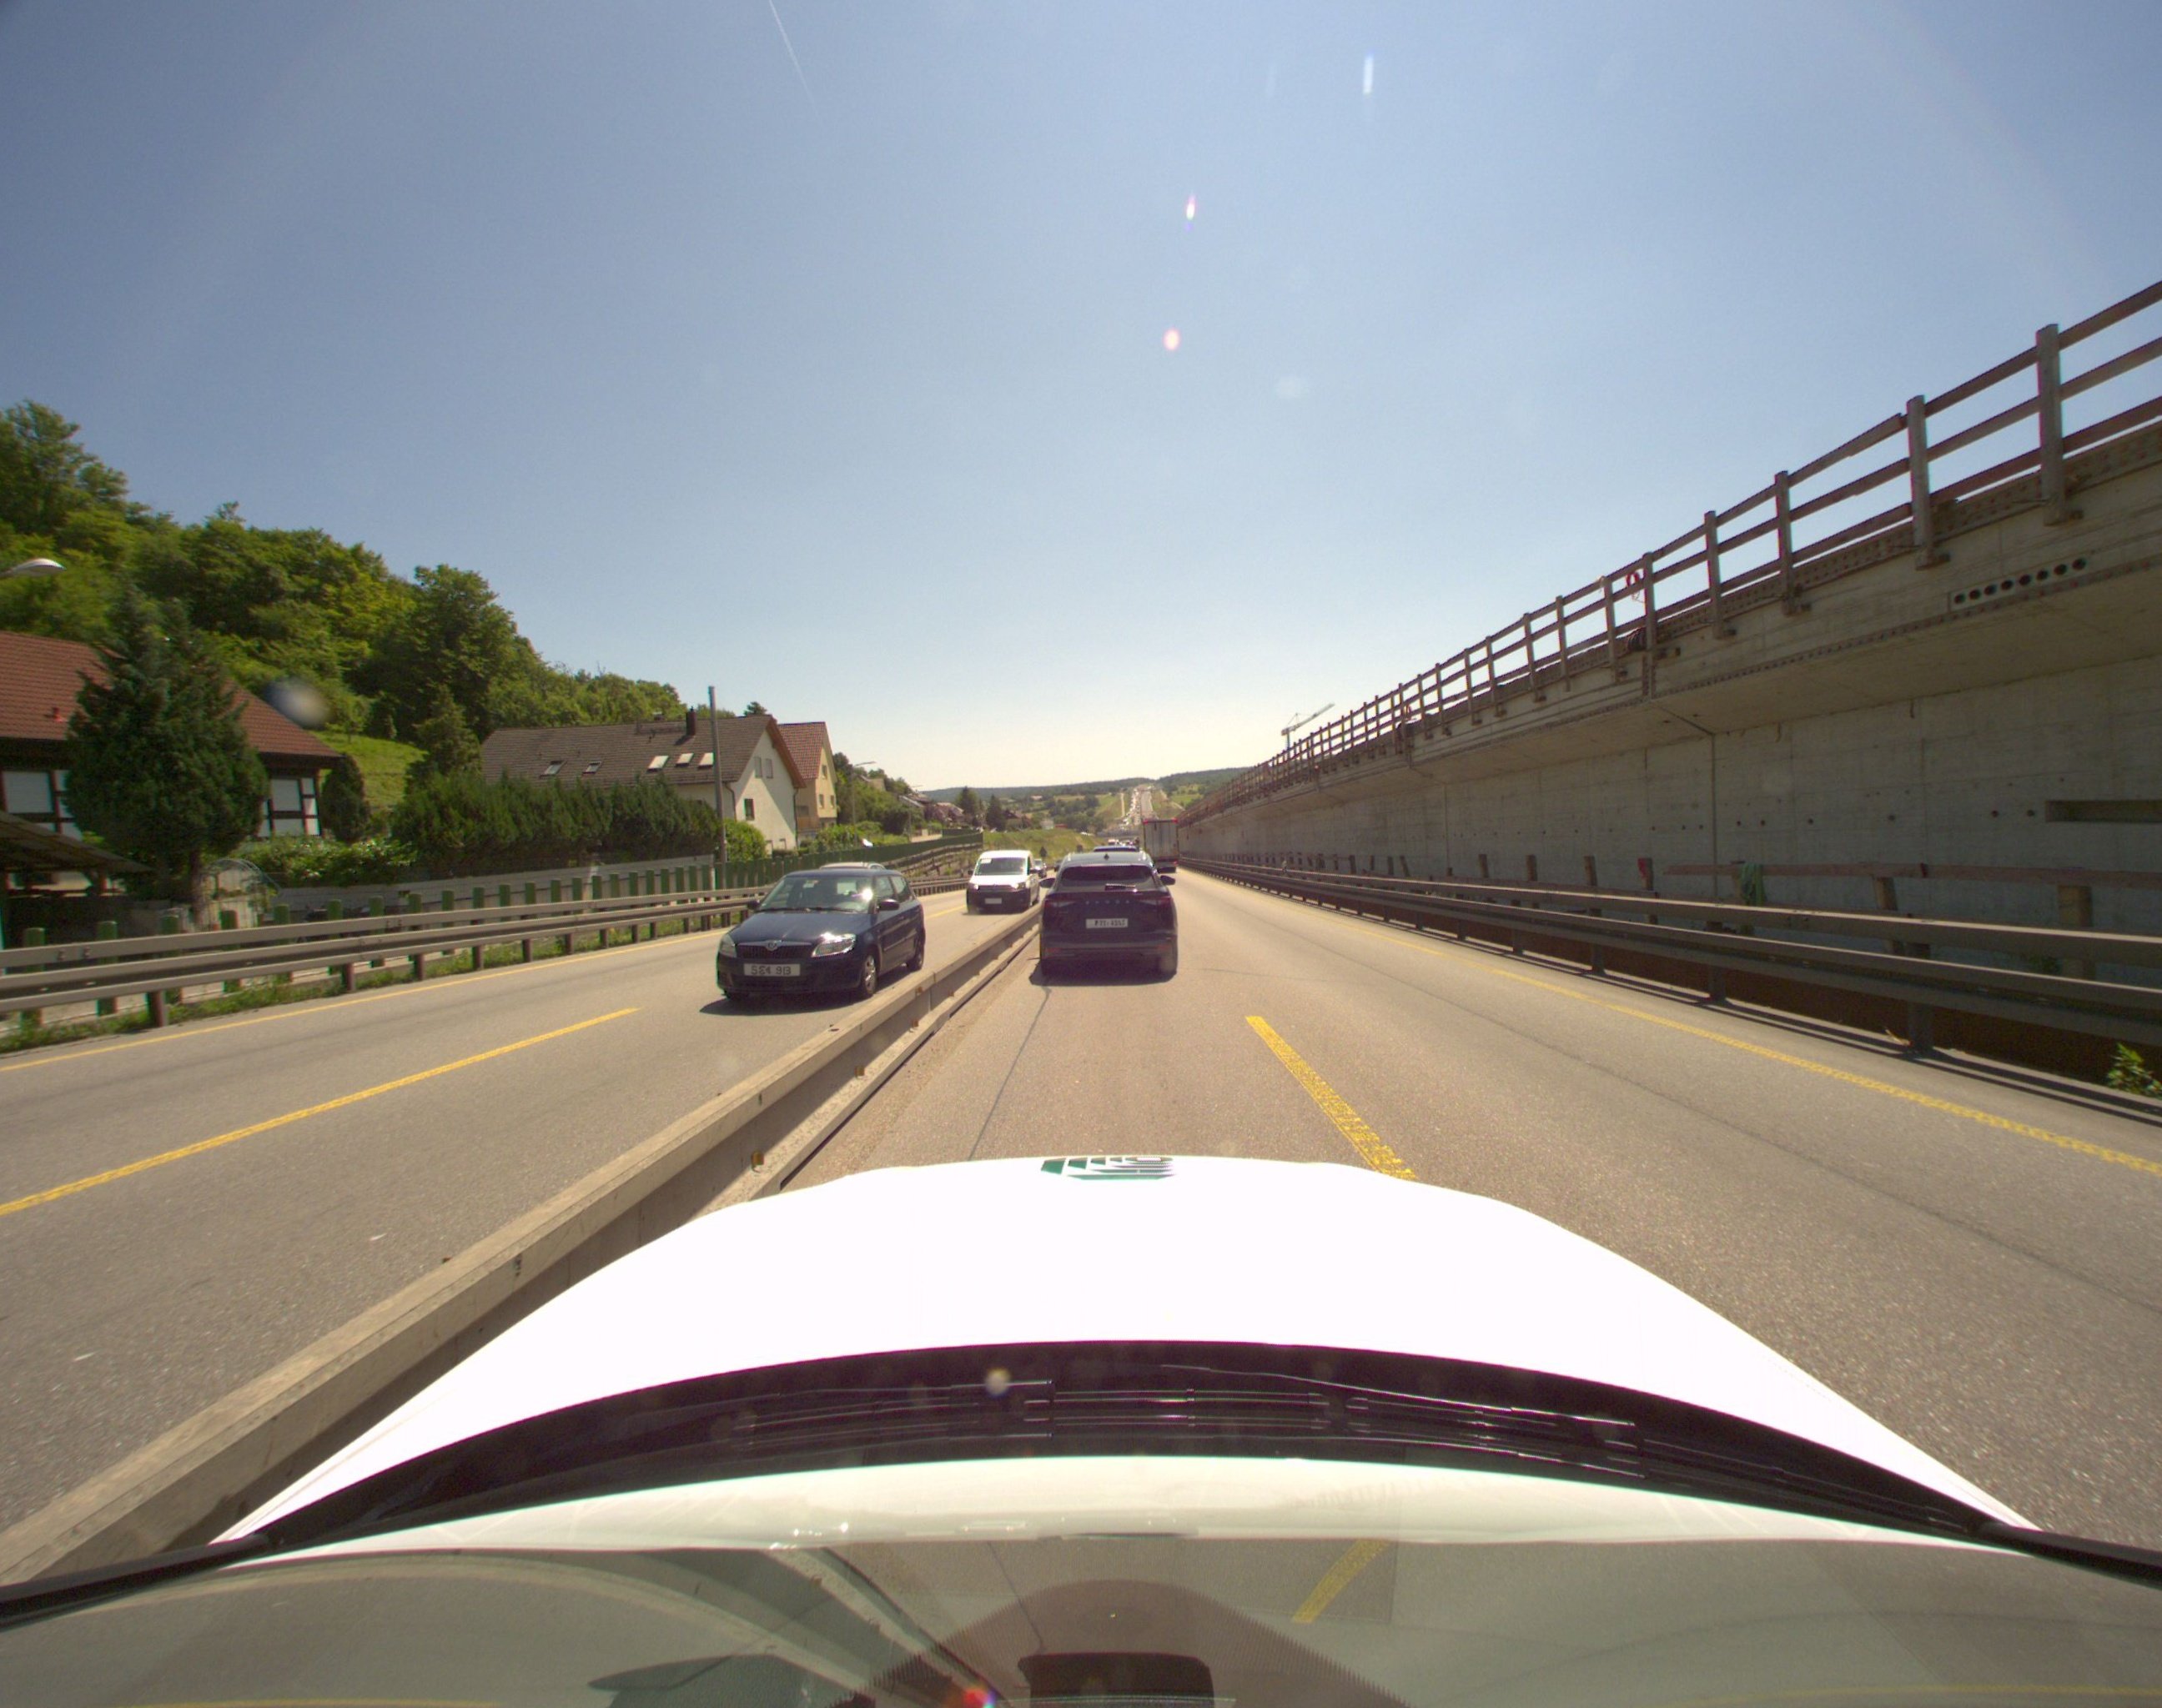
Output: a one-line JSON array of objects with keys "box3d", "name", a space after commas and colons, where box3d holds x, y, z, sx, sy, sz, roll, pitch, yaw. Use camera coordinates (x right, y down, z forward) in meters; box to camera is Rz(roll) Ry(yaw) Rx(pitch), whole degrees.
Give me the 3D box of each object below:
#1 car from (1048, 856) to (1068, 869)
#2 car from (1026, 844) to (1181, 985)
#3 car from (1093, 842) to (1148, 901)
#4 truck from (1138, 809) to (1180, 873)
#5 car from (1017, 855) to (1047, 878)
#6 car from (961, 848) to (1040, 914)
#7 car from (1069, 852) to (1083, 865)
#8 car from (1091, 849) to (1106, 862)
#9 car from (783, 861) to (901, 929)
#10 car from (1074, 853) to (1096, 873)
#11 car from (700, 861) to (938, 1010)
[{"box3d": [-2.635, 1.015, 94.047, 1.986, 1.442, 4.366, 0, -1, 2], "name": "car"}, {"box3d": [0.355, 0.735, 11.752, 1.776, 1.597, 3.757, -4, 0, 2], "name": "car"}, {"box3d": [1.343, 0.580, 28.619, 1.743, 1.895, 3.756, -2, 0, 1], "name": "car"}, {"box3d": [6.255, -0.894, 66.709, 2.833, 4.615, 11.823, -3, -1, 4], "name": "truck"}, {"box3d": [-4.034, 1.001, 67.385, 1.986, 1.827, 4.510, 0, -1, 2], "name": "car"}, {"box3d": [-2.319, 0.747, 24.493, 1.803, 1.740, 4.258, -2, 0, 1], "name": "car"}, {"box3d": [-0.738, 0.687, 121.170, 1.821, 1.926, 5.237, -2, 0, -3], "name": "car"}, {"box3d": [2.836, 0.298, 129.473, 2.148, 1.906, 5.329, -2, -1, 3], "name": "car"}, {"box3d": [-5.884, 0.943, 20.558, 1.696, 1.479, 3.975, -2, 0, 1], "name": "car"}, {"box3d": [0.467, 0.951, 86.340, 1.985, 2.014, 4.972, -3, -1, 3], "name": "car"}, {"box3d": [-3.051, 0.850, 10.434, 1.565, 1.461, 4.214, -2, 0, 1], "name": "car"}]
